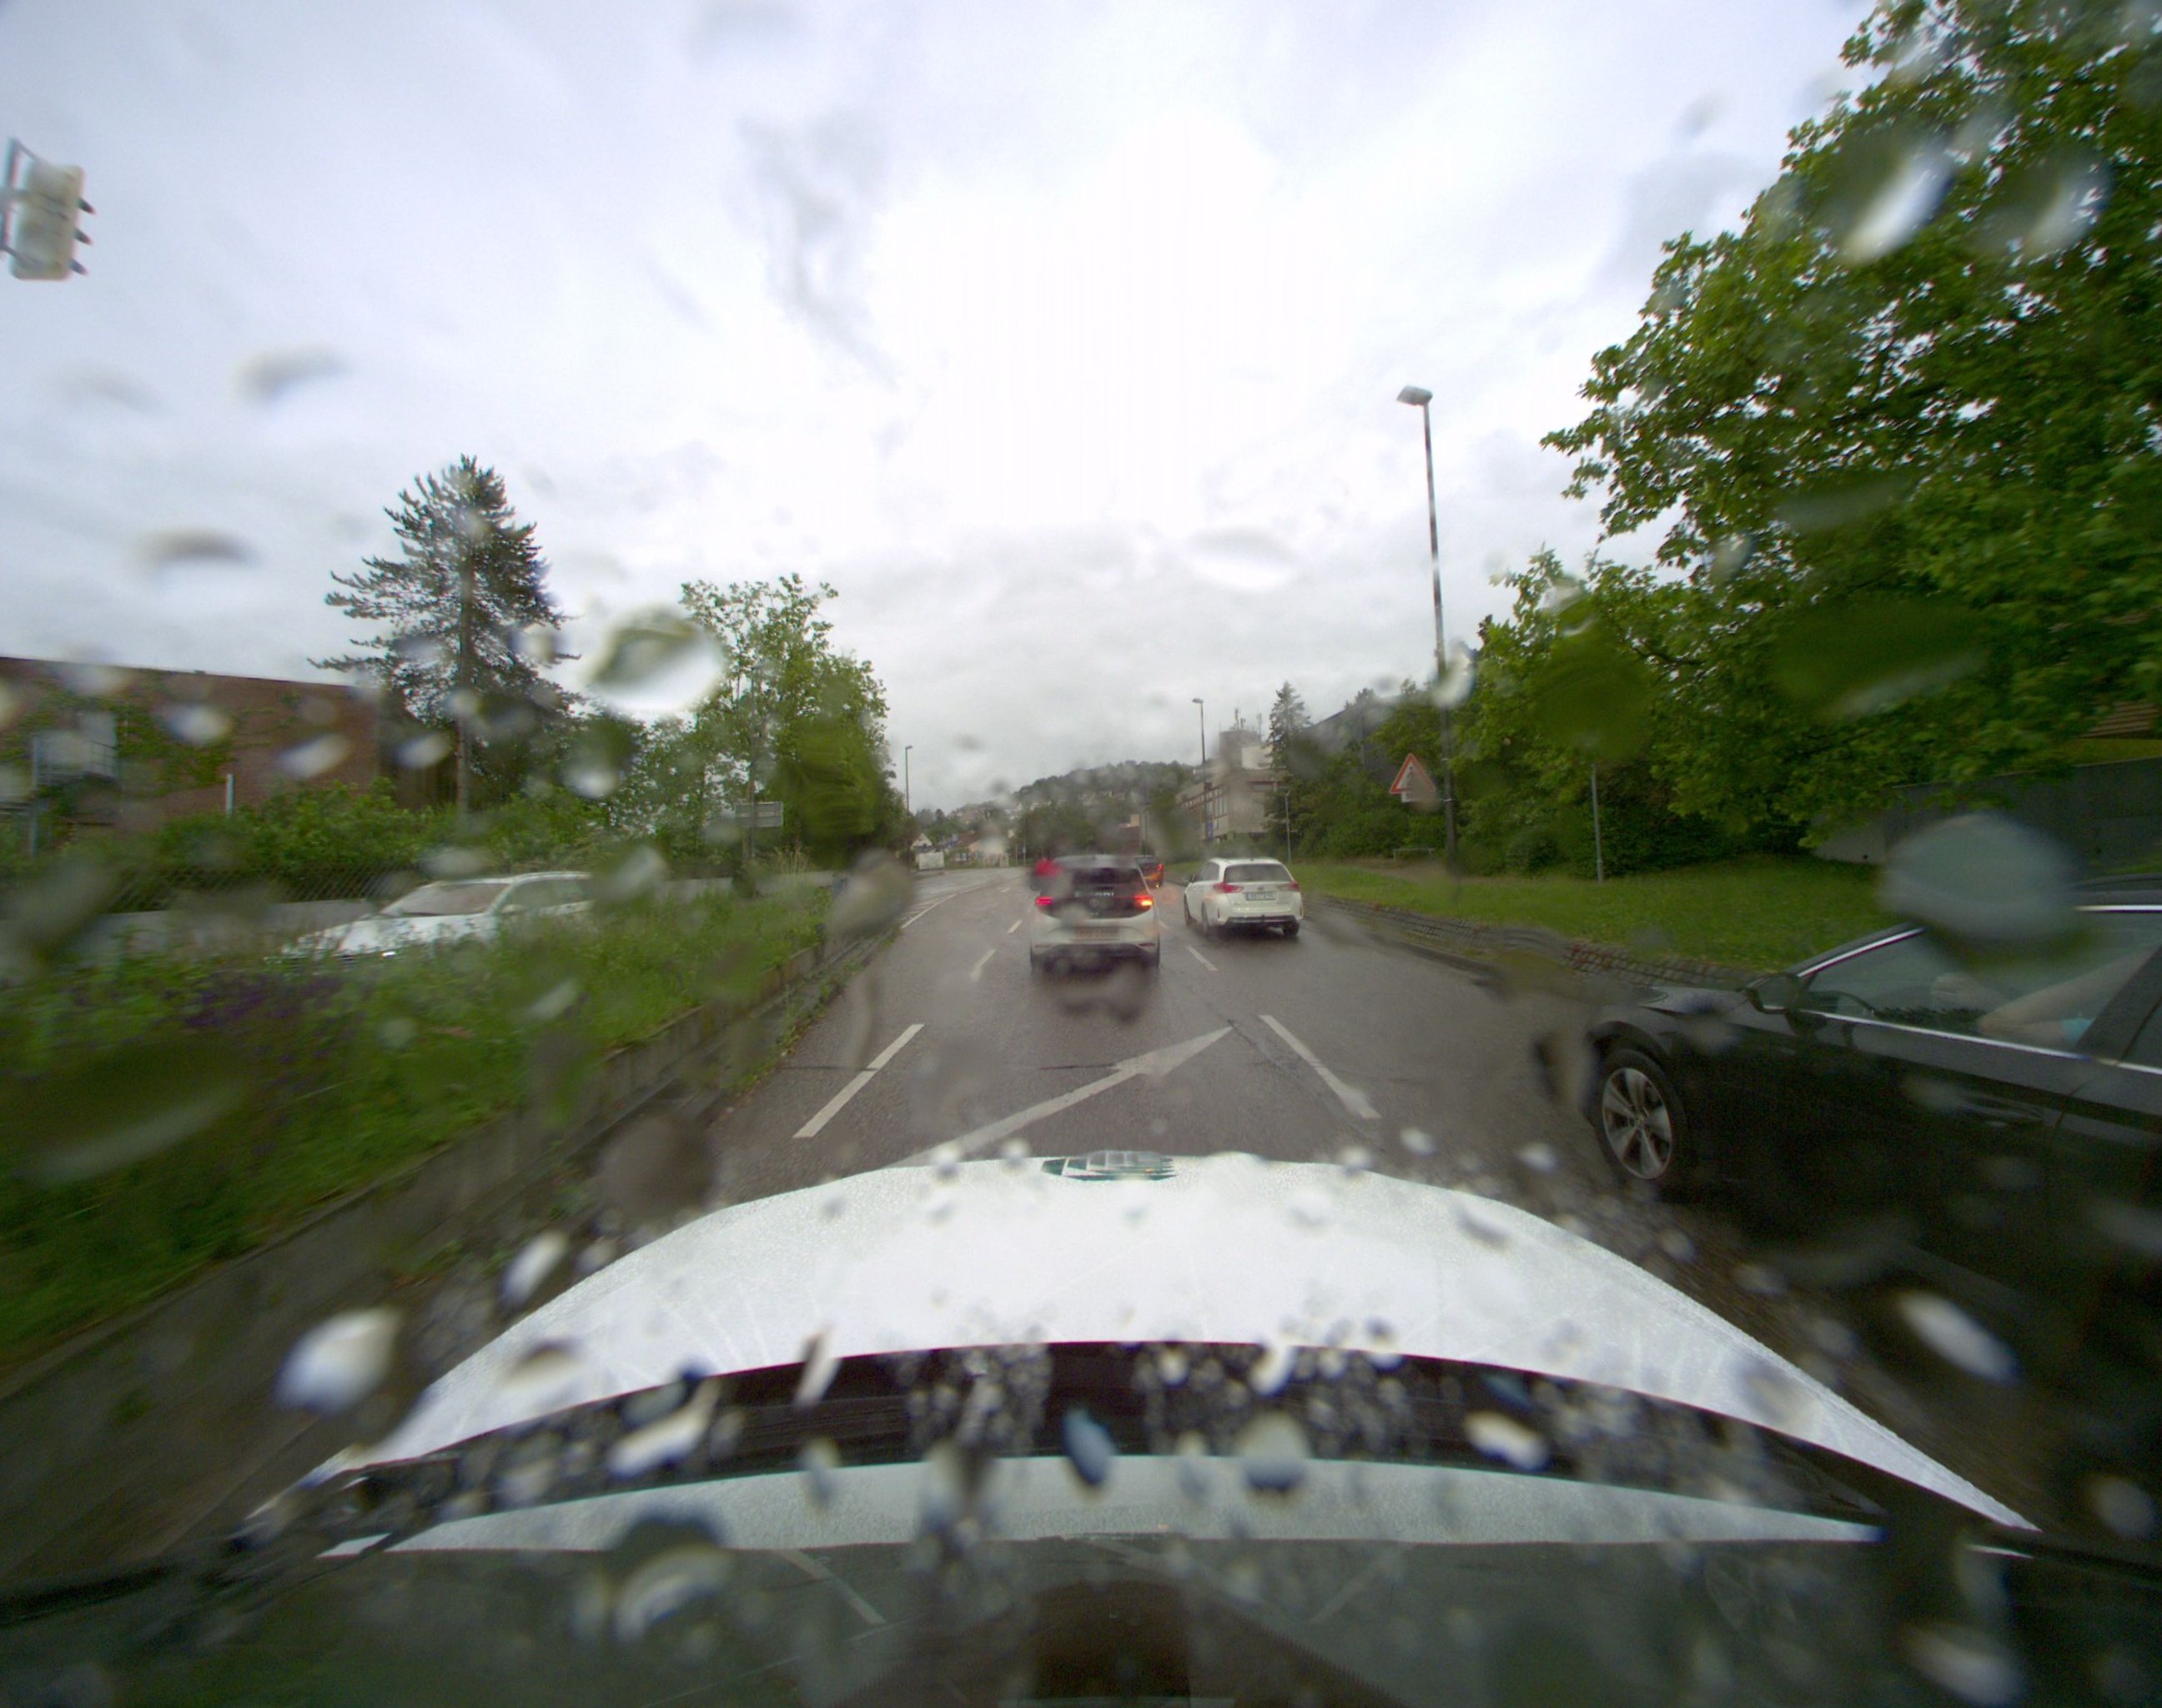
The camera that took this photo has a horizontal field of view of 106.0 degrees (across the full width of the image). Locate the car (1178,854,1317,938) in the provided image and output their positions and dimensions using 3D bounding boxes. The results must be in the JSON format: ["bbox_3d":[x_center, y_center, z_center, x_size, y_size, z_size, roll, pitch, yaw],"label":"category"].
[{"bbox_3d":[3.111,0.752,16.111,1.842,1.410,4.300,-1,-1,-1],"label":"car"}]

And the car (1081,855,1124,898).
[{"bbox_3d":[0.810,0.822,31.764,1.562,1.530,4.000,-1,0,1],"label":"car"}]

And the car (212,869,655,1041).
[{"bbox_3d":[-7.899,1.093,10.714,1.986,1.662,4.600,-2,-1,2],"label":"car"}]

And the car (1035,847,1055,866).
[{"bbox_3d":[-4.054,0.331,92.202,1.986,2.014,4.000,0,-1,1],"label":"car"}]

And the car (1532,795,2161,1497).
[{"bbox_3d":[3.311,0.647,2.007,1.947,1.507,4.609,1,-1,1],"label":"car"}]

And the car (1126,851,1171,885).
[{"bbox_3d":[3.275,0.676,40.048,1.985,1.453,3.773,-4,-1,3],"label":"car"}]

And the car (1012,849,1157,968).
[{"bbox_3d":[0.160,0.732,12.455,1.821,1.500,4.171,-1,-1,3],"label":"car"}]

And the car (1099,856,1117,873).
[{"bbox_3d":[3.212,1.279,96.572,1.985,2.014,4.003,0,-1,3],"label":"car"}]
